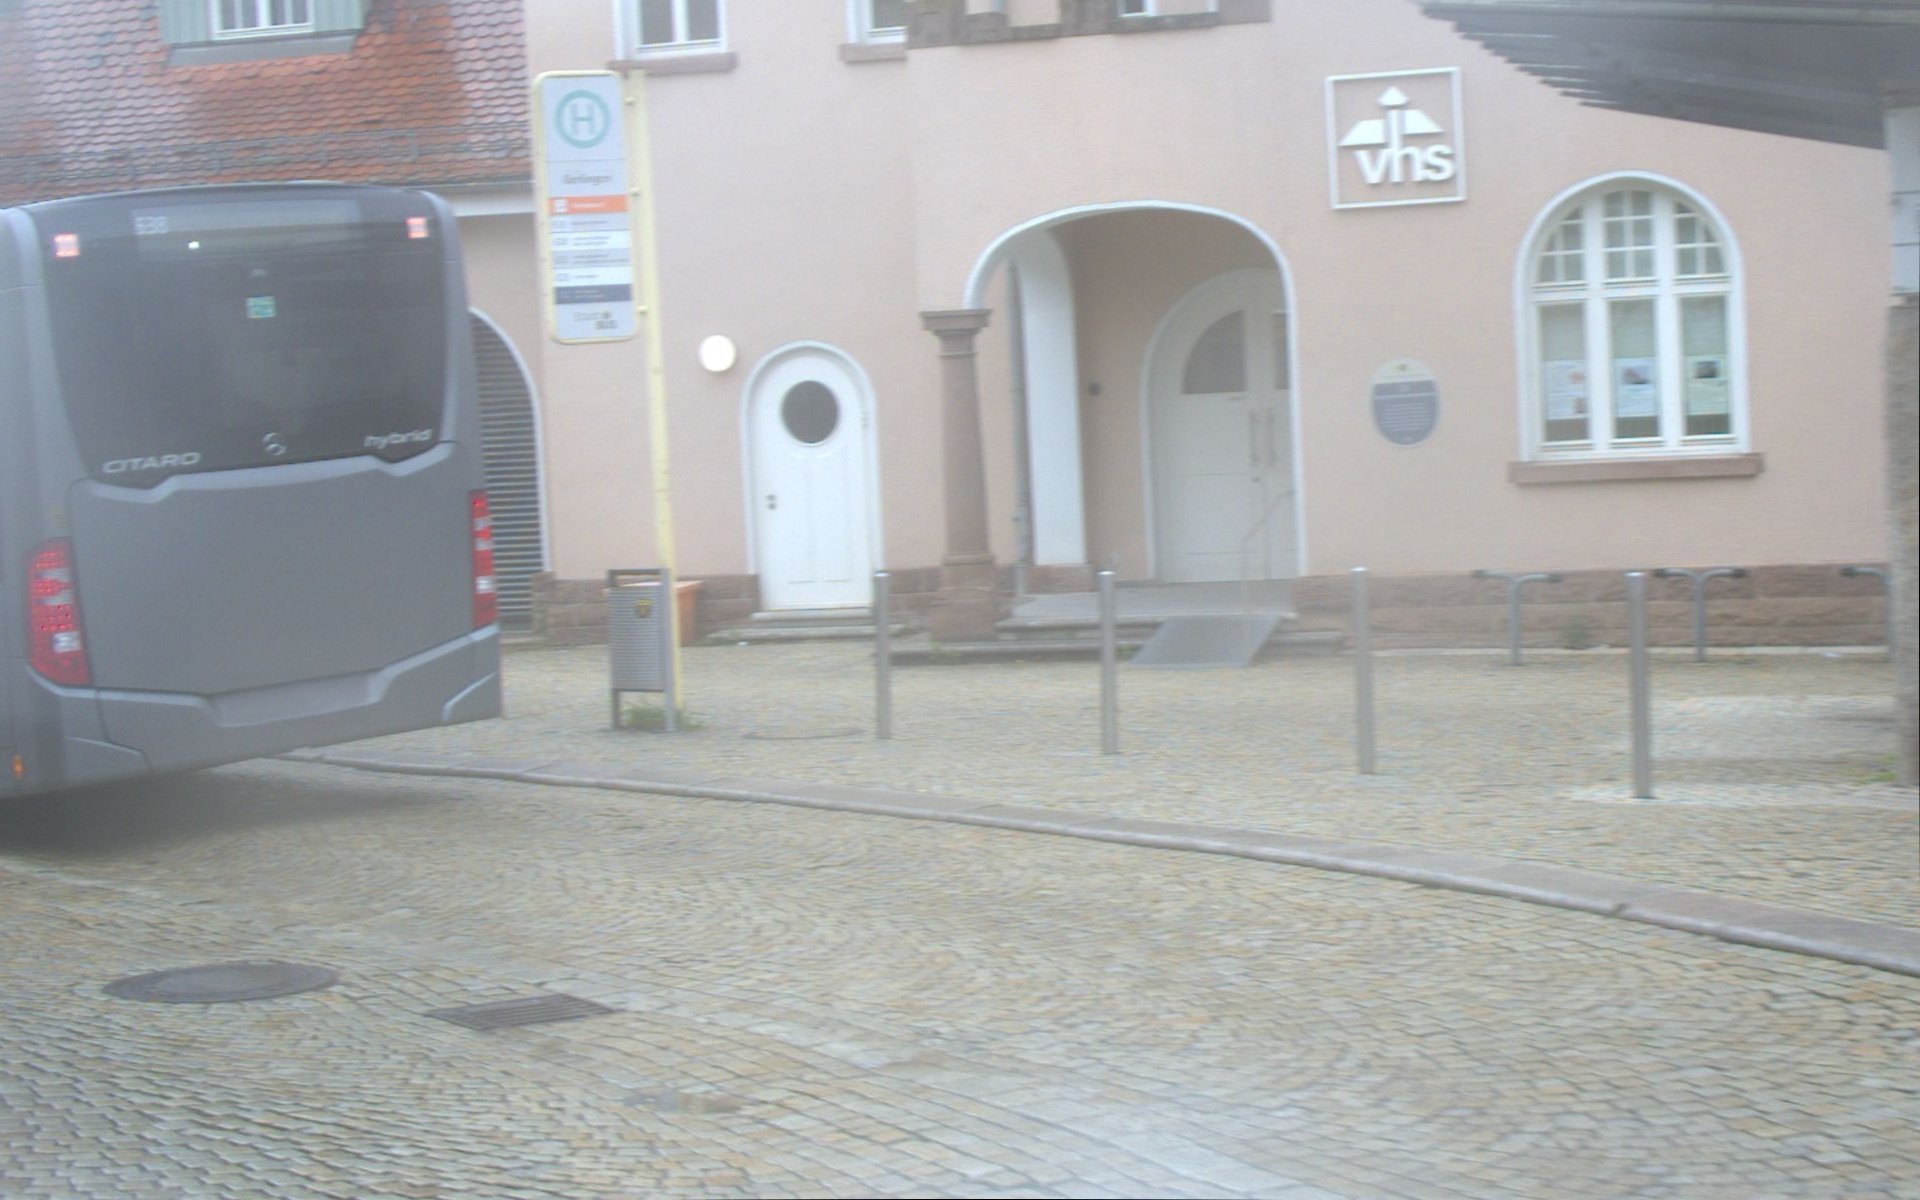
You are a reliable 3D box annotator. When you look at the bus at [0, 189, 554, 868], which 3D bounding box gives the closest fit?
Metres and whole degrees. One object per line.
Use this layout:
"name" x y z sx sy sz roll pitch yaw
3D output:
"bus" -6.640 -0.494 19.919 2.781 2.979 10.552 -6 5 -42
